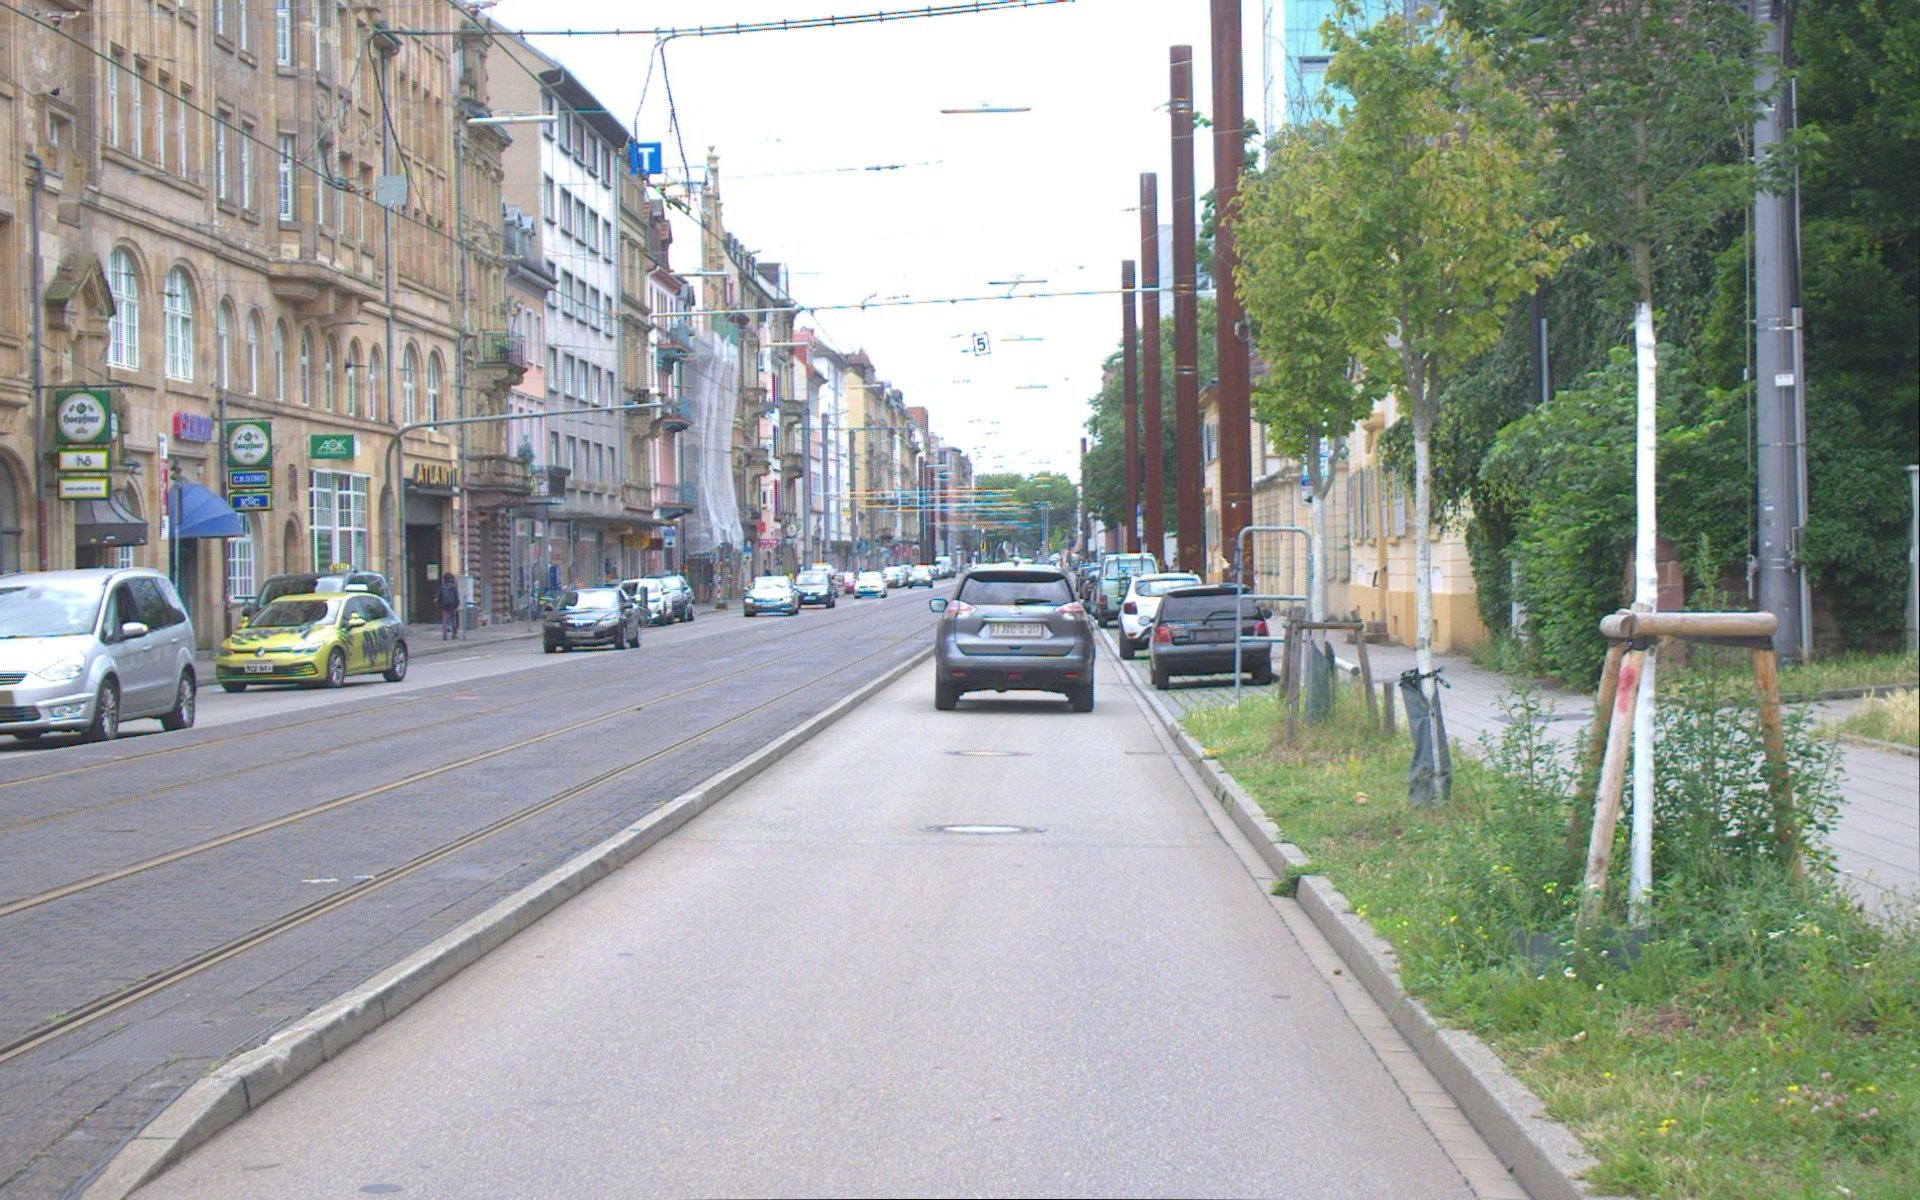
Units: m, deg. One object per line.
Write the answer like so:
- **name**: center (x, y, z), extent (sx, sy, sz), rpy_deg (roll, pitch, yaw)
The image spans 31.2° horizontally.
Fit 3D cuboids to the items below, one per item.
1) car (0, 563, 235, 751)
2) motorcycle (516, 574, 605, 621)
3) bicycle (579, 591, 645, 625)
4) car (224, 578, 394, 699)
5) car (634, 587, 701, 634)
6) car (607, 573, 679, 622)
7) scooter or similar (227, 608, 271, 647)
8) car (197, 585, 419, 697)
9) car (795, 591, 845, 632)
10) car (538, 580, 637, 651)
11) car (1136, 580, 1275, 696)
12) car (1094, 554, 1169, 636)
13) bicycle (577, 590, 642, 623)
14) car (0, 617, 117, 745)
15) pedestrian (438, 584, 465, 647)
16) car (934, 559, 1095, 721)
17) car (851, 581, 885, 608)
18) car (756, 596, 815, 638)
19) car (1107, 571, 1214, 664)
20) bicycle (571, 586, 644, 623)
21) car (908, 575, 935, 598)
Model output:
- **car**: center (-8.789, 0.512, 34.181), extent (1.863, 1.700, 4.909), rpy_deg (-2, 1, 3)
- **motorcycle**: center (-11.334, -0.082, 97.605), extent (2.336, 1.298, 0.883), rpy_deg (-1, 1, -34)
- **bicycle**: center (-10.589, 0.236, 104.594), extent (1.965, 0.998, 0.463), rpy_deg (-1, 0, -6)
- **car**: center (-11.659, 0.650, 61.871), extent (1.899, 1.970, 5.097), rpy_deg (-3, 1, 1)
- **car**: center (-9.909, 0.339, 116.614), extent (1.776, 1.499, 4.401), rpy_deg (-1, 1, 1)
- **car**: center (-10.124, -0.095, 109.893), extent (1.776, 1.499, 4.401), rpy_deg (-1, 1, 1)
- **scooter or similar**: center (-14.823, 0.569, 71.699), extent (0.581, 0.800, 1.345), rpy_deg (-1, 1, 2)
- **car**: center (-9.887, 0.593, 52.522), extent (1.899, 1.506, 4.426), rpy_deg (-2, 1, 9)
- **car**: center (-5.892, 0.464, 145.256), extent (1.759, 1.666, 4.614), rpy_deg (-1, 1, 2)
- **car**: center (-8.212, 0.323, 76.112), extent (1.827, 1.428, 4.667), rpy_deg (-3, 1, -3)
- **car**: center (3.349, 0.489, 47.415), extent (1.637, 1.429, 3.931), rpy_deg (-3, 1, 1)
- **car**: center (4.746, -0.168, 95.747), extent (1.851, 2.108, 4.984), rpy_deg (-3, 0, 1)
- **bicycle**: center (-10.768, 0.195, 105.624), extent (1.965, 0.998, 0.463), rpy_deg (-1, 0, -6)
- **car**: center (-11.658, 0.939, 40.857), extent (1.927, 1.375, 4.257), rpy_deg (-1, 1, 5)
- **pedestrian**: center (-12.929, 0.399, 87.413), extent (0.568, 1.592, 0.718), rpy_deg (-1, 0, 1)
- **car**: center (0.663, 0.422, 40.203), extent (1.749, 1.750, 3.923), rpy_deg (2, 1, 2)
- **car**: center (-5.110, -0.299, 190.880), extent (1.687, 1.415, 4.135), rpy_deg (-1, 1, 1)
- **car**: center (-6.336, 0.608, 125.349), extent (1.759, 1.444, 4.614), rpy_deg (-1, 1, 2)
- **car**: center (3.699, 0.300, 63.997), extent (1.755, 1.569, 3.931), rpy_deg (-3, 1, 1)
- **bicycle**: center (-10.902, 0.133, 106.330), extent (2.230, 1.122, 0.504), rpy_deg (-1, 0, -6)
- **car**: center (-2.955, -1.022, 261.449), extent (1.993, 1.629, 4.000), rpy_deg (0, 0, -2)
